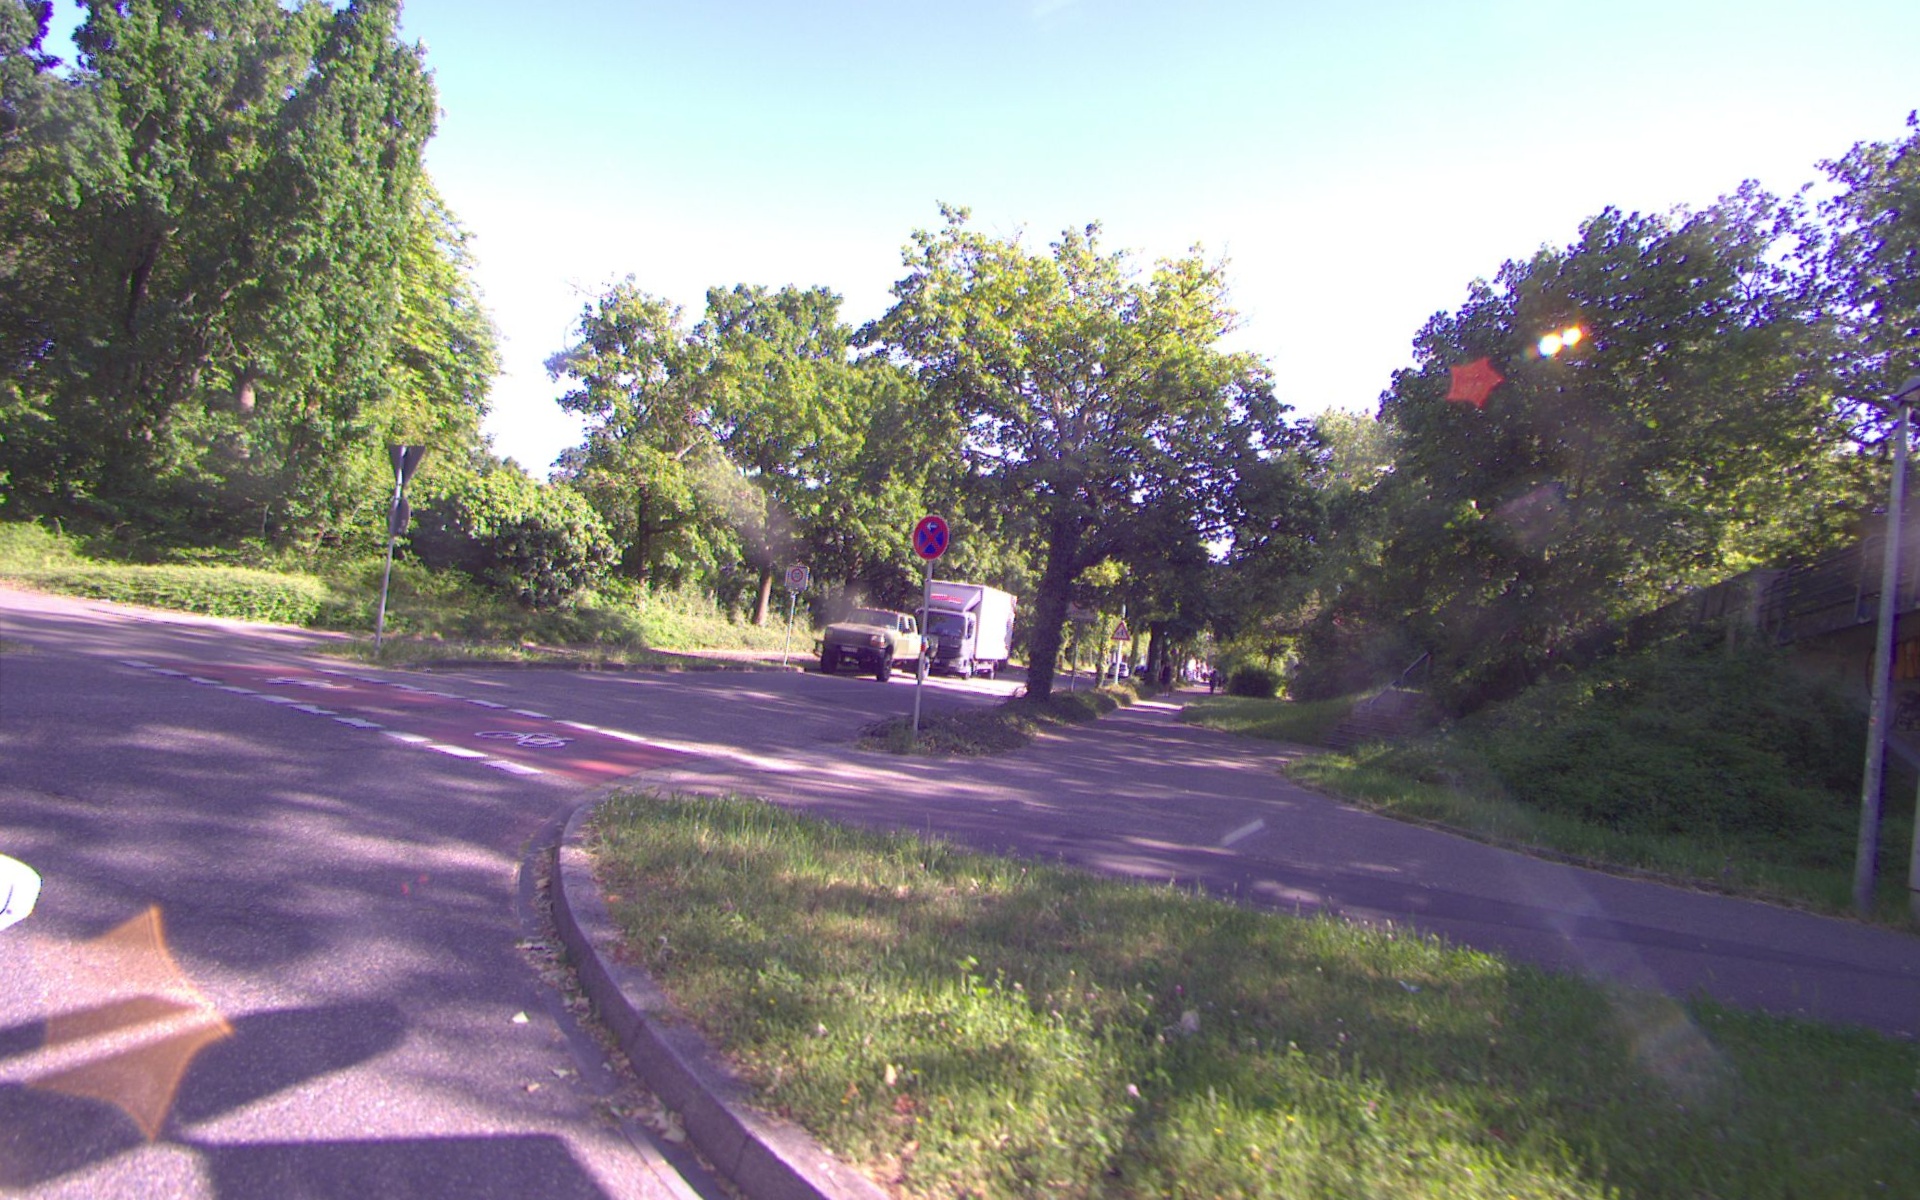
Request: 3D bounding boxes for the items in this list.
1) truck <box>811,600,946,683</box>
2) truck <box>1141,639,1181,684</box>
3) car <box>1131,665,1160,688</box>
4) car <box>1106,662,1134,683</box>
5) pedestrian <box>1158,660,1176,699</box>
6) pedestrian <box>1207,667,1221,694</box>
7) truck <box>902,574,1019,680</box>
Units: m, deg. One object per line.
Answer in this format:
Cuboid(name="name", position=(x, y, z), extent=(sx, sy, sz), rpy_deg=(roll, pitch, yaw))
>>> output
Cuboid(name="truck", position=(-2.378, 1.420, 31.963), extent=(2.079, 2.118, 6.656), rpy_deg=(7, -2, 14))
Cuboid(name="truck", position=(20.537, 6.308, 102.189), extent=(2.842, 3.989, 10.013), rpy_deg=(8, -2, 16))
Cuboid(name="car", position=(14.941, 6.152, 80.818), extent=(1.766, 1.527, 4.005), rpy_deg=(7, -2, 16))
Cuboid(name="car", position=(13.400, 6.068, 84.120), extent=(1.766, 1.527, 4.005), rpy_deg=(7, -2, 16))
Cuboid(name="pedestrian", position=(10.197, 3.915, 49.517), extent=(0.638, 1.841, 0.651), rpy_deg=(7, -1, 16))
Cuboid(name="pedestrian", position=(16.869, 5.337, 66.838), extent=(0.638, 1.680, 0.651), rpy_deg=(7, -1, 17))
Cuboid(name="truck", position=(0.217, 1.281, 41.494), extent=(2.573, 3.668, 7.967), rpy_deg=(7, -2, 14))
